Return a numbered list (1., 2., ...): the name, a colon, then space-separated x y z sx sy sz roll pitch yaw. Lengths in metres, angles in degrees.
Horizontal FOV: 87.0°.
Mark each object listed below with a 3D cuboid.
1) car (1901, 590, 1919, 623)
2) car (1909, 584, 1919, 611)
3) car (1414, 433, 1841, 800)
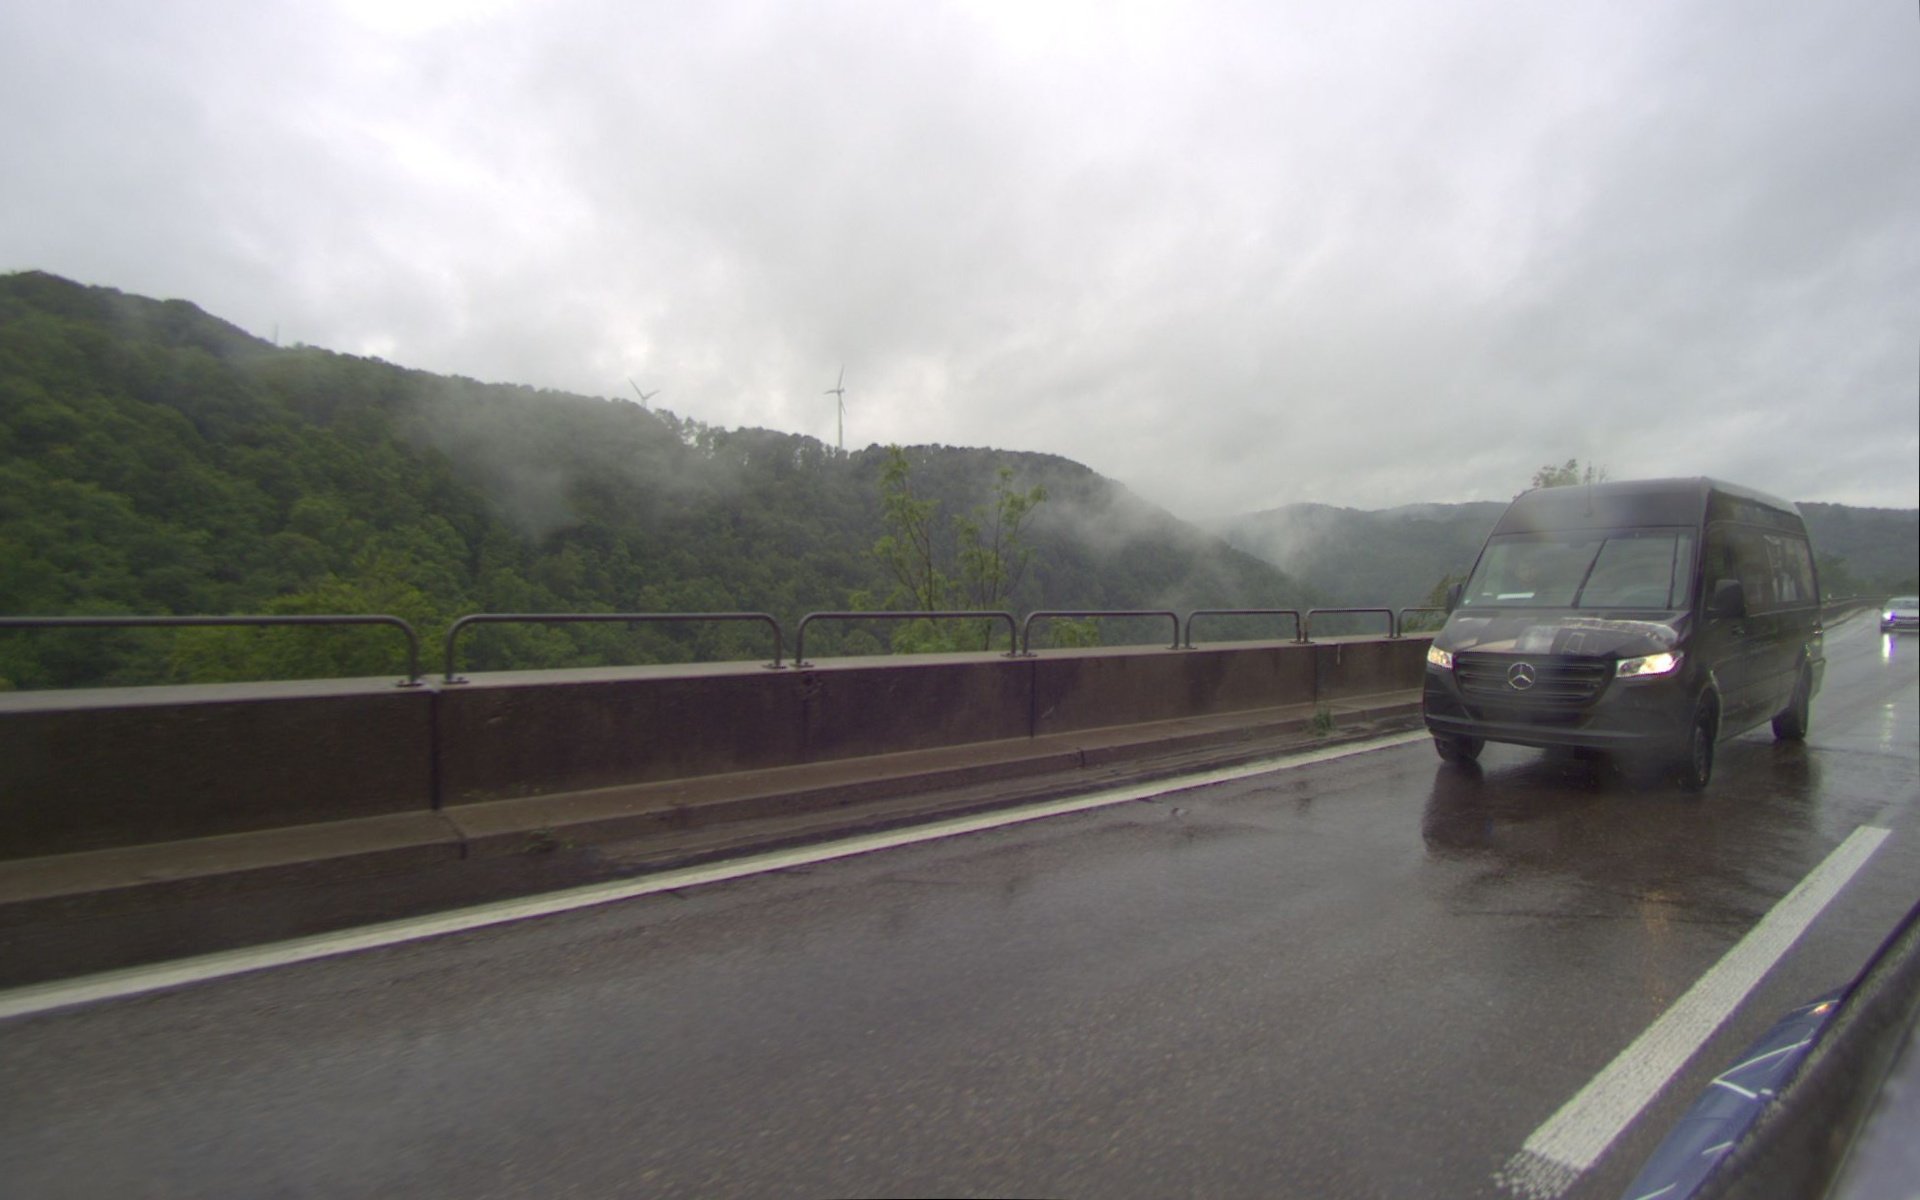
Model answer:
1. car: 42.854 0.272 44.470 4.489 1.433 1.987 0 1 -44
2. car: 67.682 -0.187 70.846 1.761 1.885 3.707 1 1 44
3. car: 6.878 0.089 9.953 6.591 2.526 1.996 0 0 -43
